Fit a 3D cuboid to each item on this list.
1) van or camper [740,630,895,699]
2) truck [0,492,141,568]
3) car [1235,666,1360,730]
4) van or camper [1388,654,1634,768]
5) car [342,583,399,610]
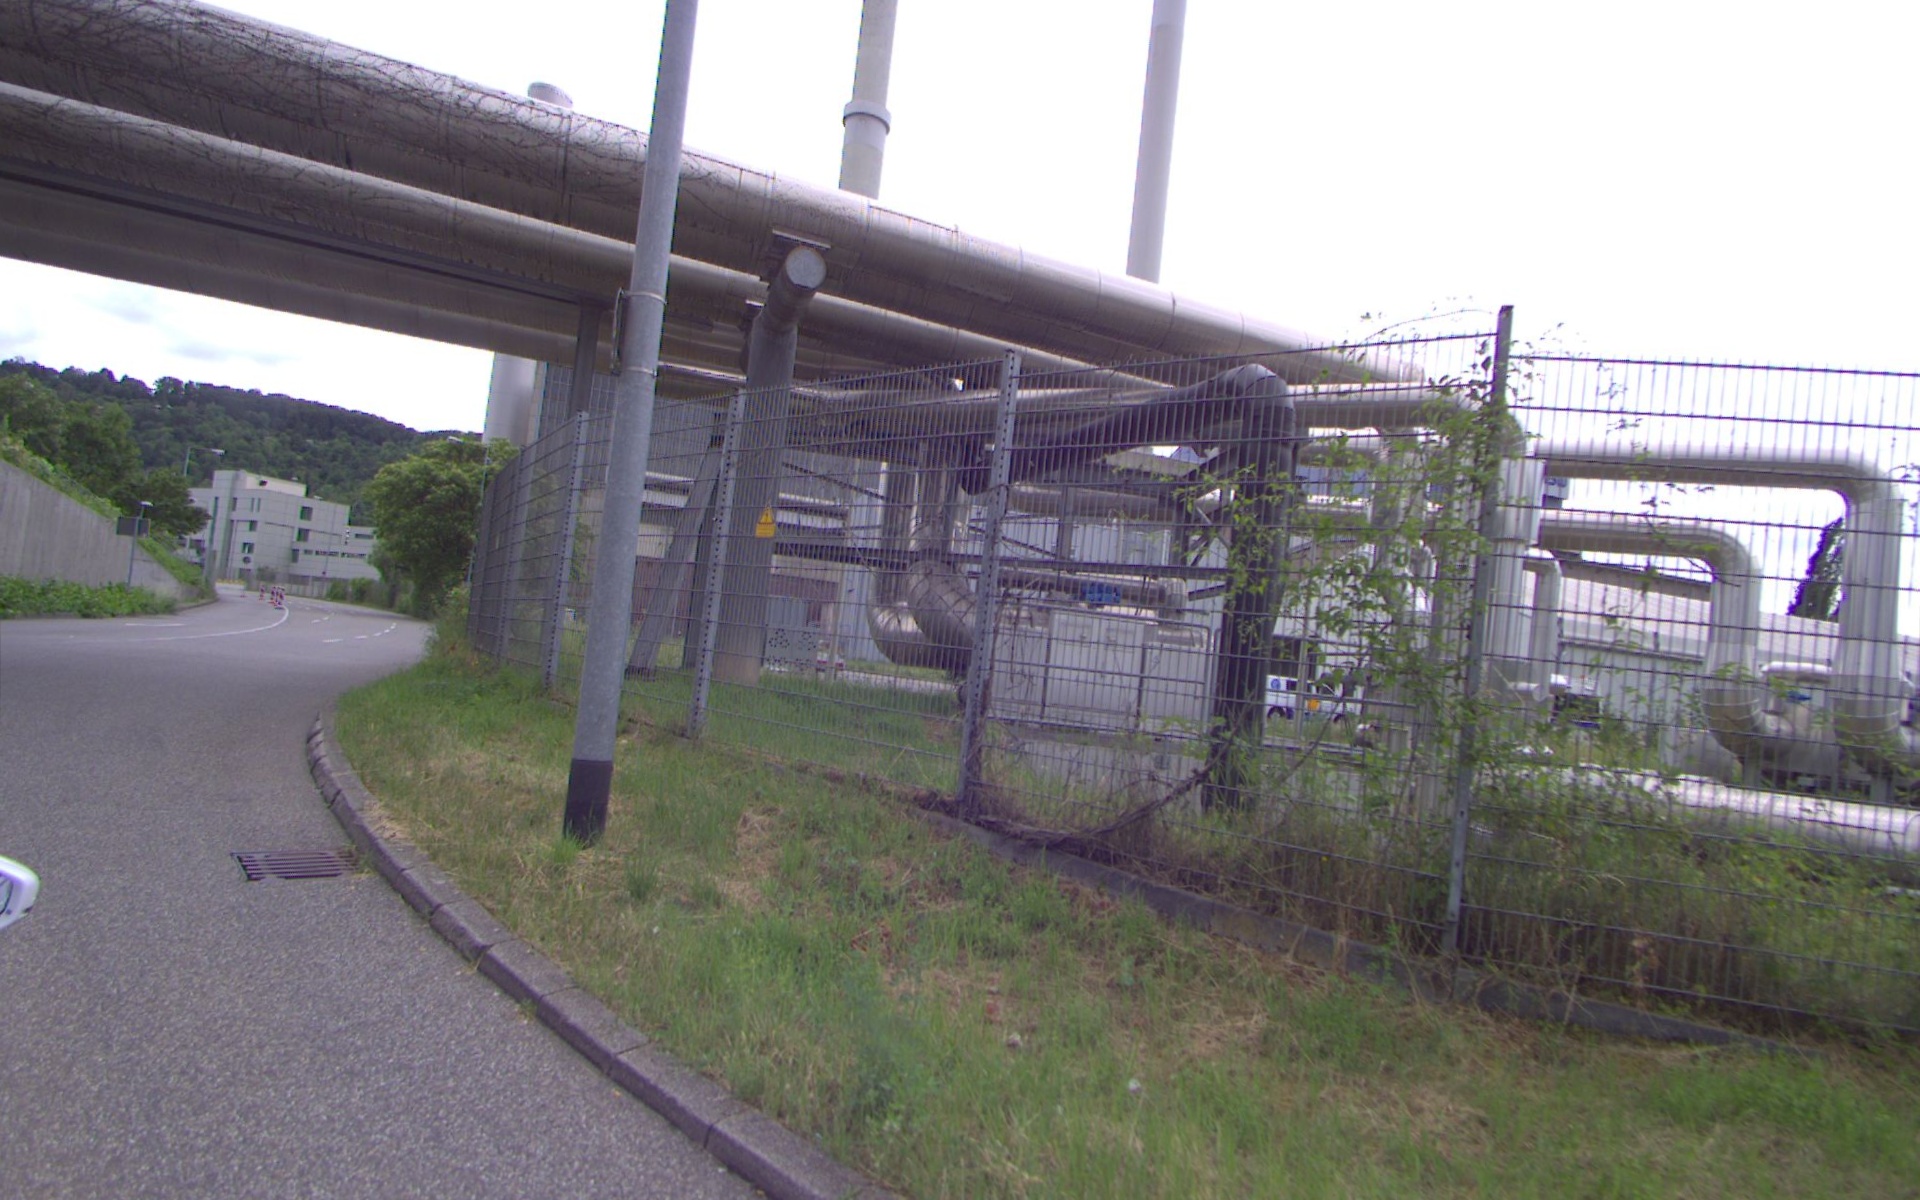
[{"bbox_3d":[-12.169,5.572,86.404,11.744,4.577,5.441,9,-6,-35],"label":"van or camper"},{"bbox_3d":[-59.409,-4.534,66.047,3.001,3.574,7.867,3,-6,29],"label":"truck"},{"bbox_3d":[13.336,3.864,39.832,4.279,2.036,1.993,8,-3,-20],"label":"car"},{"bbox_3d":[15.387,3.023,28.679,2.535,2.576,6.117,7,-3,-14],"label":"van or camper"},{"bbox_3d":[-72.346,-0.457,123.466,6.052,2.286,2.005,8,-4,11],"label":"car"}]
